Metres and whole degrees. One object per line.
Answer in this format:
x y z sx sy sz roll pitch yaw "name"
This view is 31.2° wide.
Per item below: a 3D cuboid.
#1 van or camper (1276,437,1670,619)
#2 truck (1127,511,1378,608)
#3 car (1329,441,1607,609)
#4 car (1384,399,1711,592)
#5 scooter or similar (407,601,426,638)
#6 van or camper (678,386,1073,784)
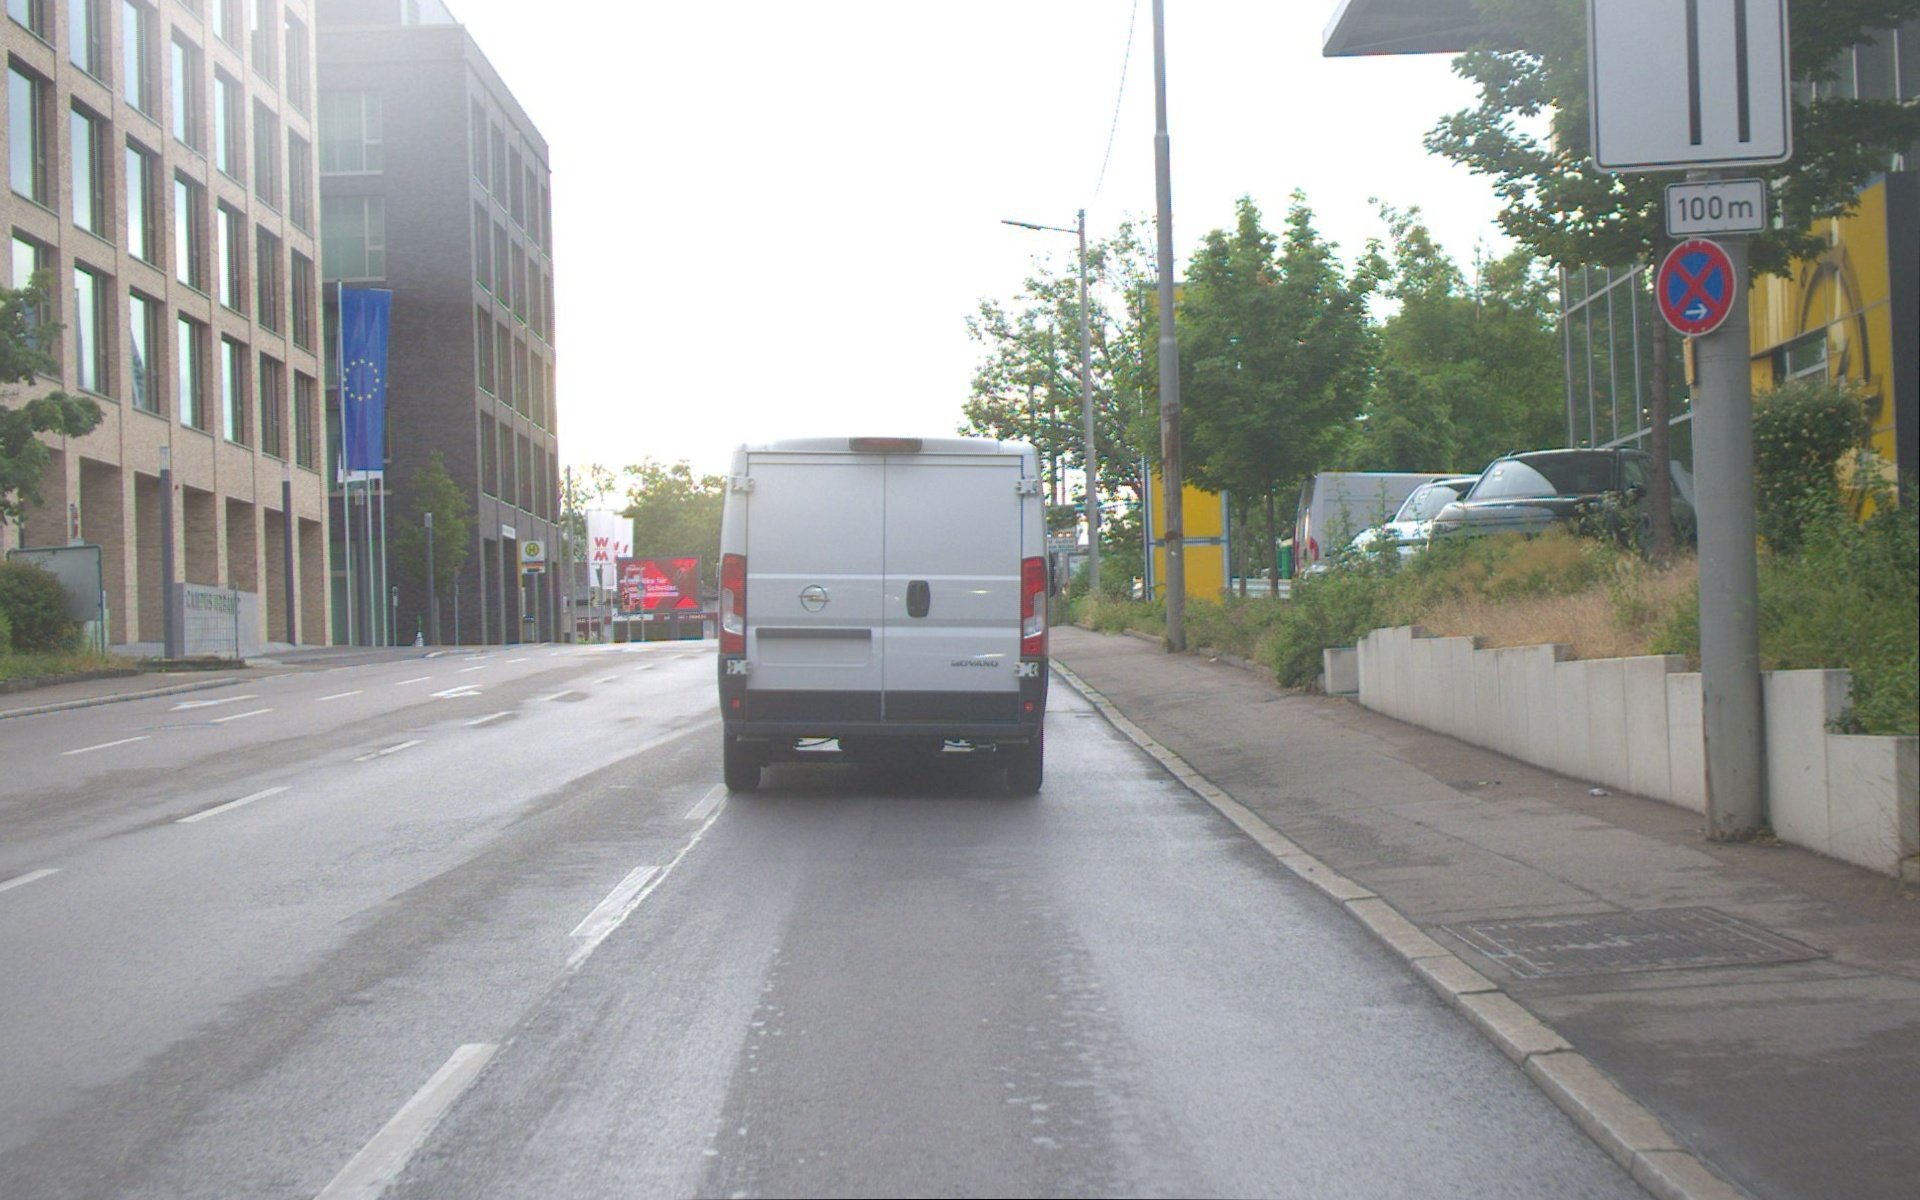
7.909 -1.107 53.418 5.736 2.714 2.352 -1 0 0 "van or camper"
6.280 -0.872 74.287 5.147 2.007 2.345 -1 1 -2 "truck"
5.894 -0.827 39.410 1.996 1.705 4.572 -3 -1 23 "car"
5.988 -1.011 34.618 1.996 1.705 4.422 -3 -1 26 "car"
-16.275 0.595 102.948 0.351 1.068 1.428 -1 -2 0 "scooter or similar"
-0.485 -0.110 23.114 2.340 2.349 5.199 -1 0 0 "van or camper"
